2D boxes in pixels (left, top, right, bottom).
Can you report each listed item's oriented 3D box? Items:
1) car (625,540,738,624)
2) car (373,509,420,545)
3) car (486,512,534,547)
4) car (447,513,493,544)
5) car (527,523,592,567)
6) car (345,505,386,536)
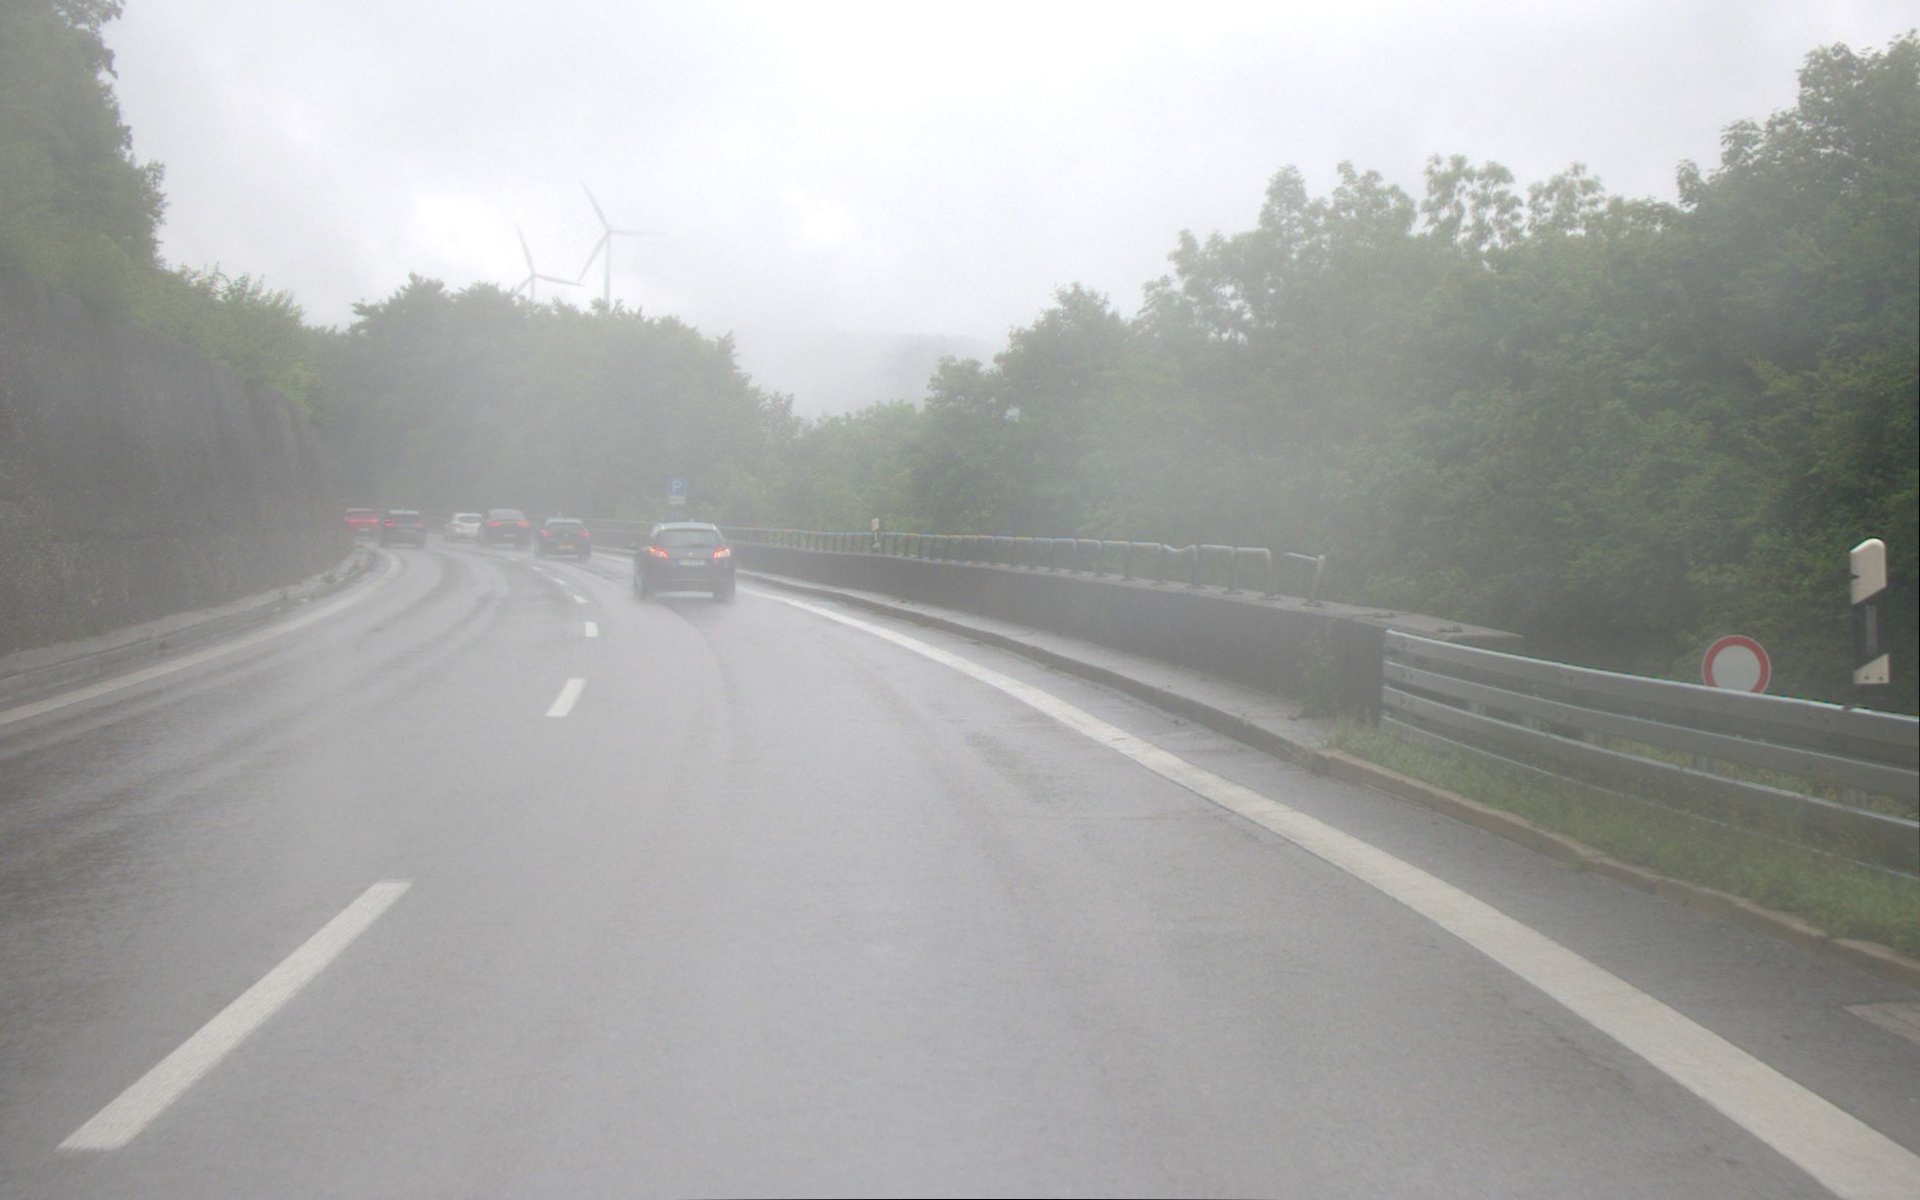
[{"bbox_3d":[-5.390,-0.366,66.073,1.903,1.494,4.001,1,1,-8],"label":"car"},{"bbox_3d":[-24.062,-3.118,146.787,1.903,1.494,4.001,1,1,-9],"label":"car"},{"bbox_3d":[-19.606,-3.087,149.737,1.903,1.494,4.001,1,1,-9],"label":"car"},{"bbox_3d":[-24.090,-3.525,169.005,1.903,1.494,4.001,1,1,-13],"label":"car"},{"bbox_3d":[-14.102,-1.942,120.868,1.903,1.494,4.001,1,1,-12],"label":"car"},{"bbox_3d":[-30.129,-4.033,174.129,1.903,1.494,4.001,1,1,-11],"label":"car"}]
